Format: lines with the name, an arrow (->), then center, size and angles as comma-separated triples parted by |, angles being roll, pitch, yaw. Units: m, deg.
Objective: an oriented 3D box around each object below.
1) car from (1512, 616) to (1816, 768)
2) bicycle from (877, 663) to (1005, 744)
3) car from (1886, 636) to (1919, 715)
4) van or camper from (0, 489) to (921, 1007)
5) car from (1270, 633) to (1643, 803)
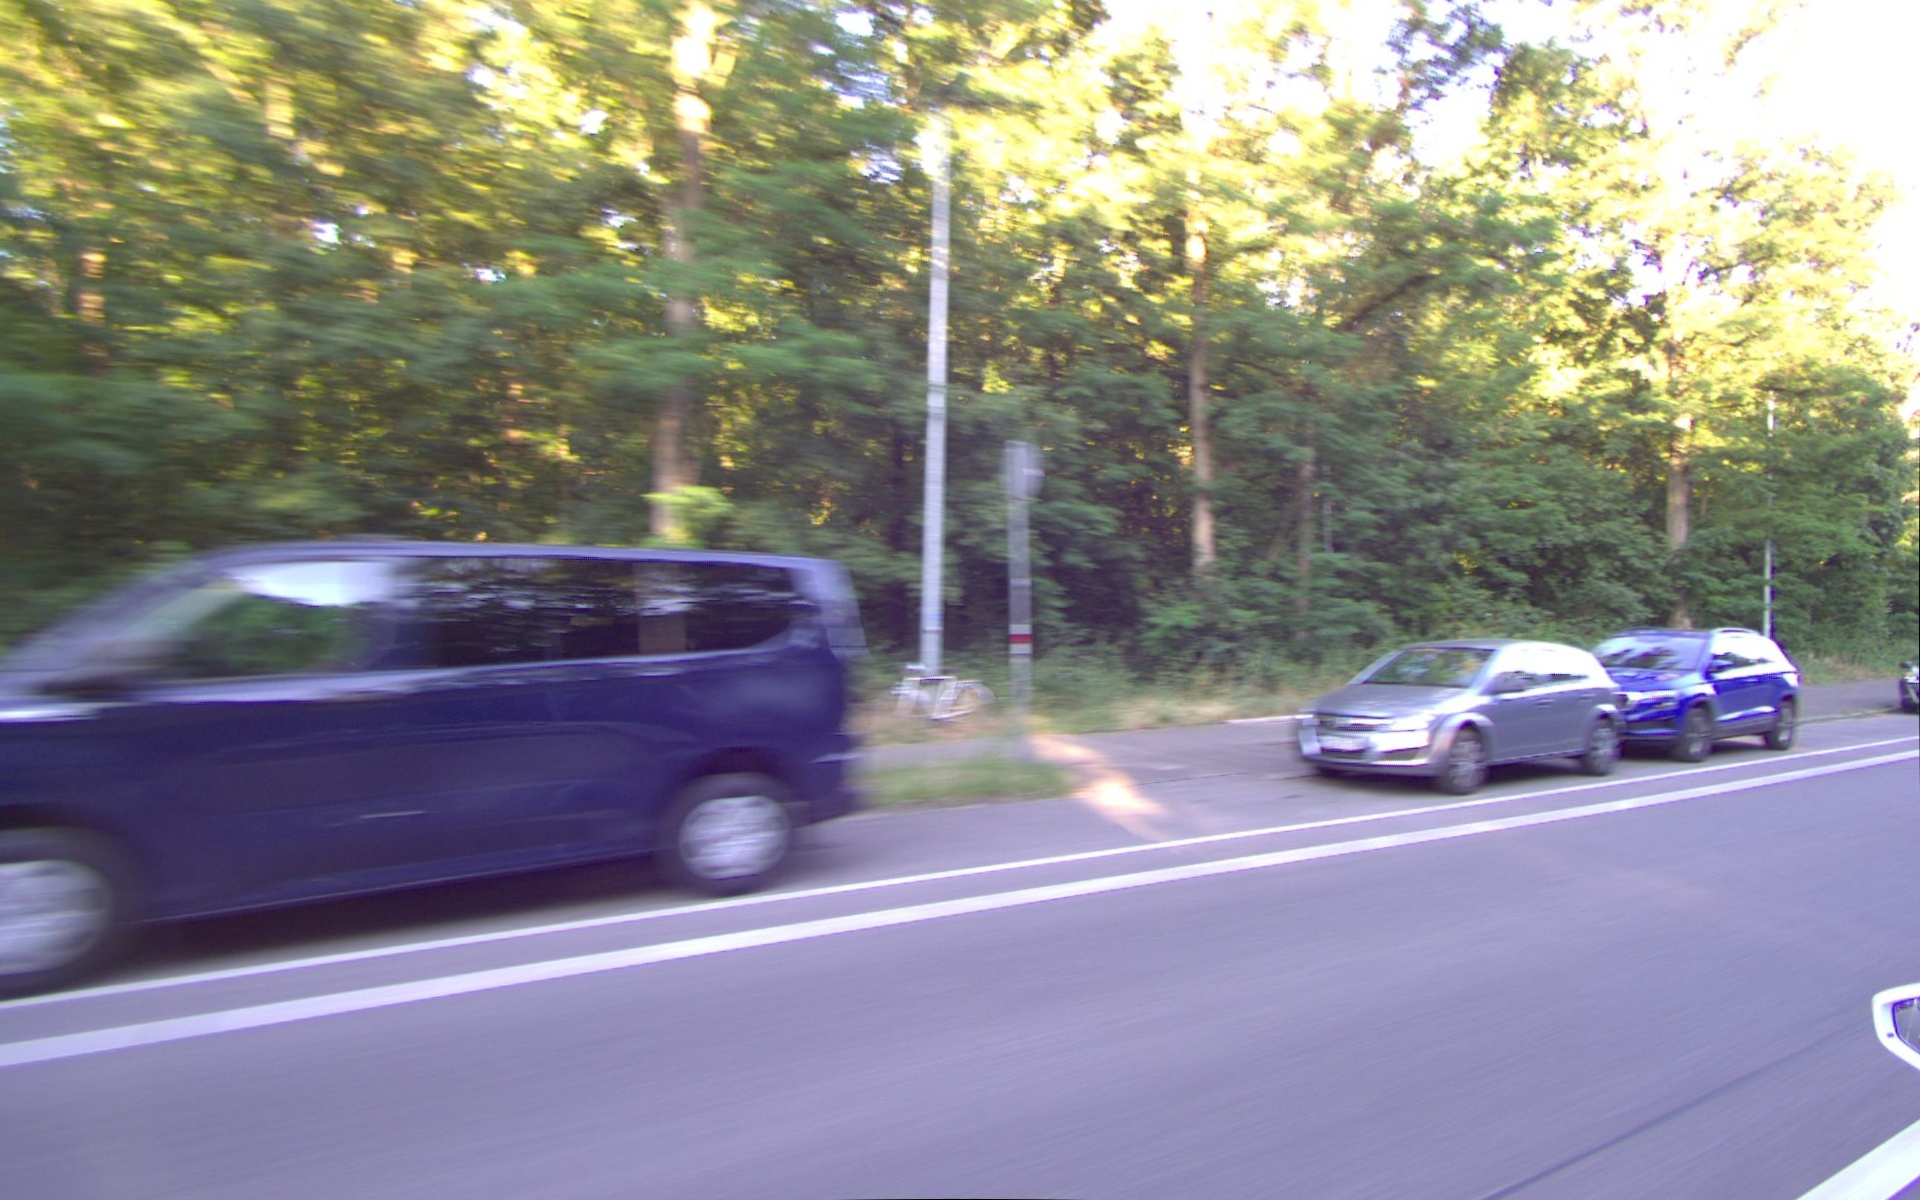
car -> 9.512, 1.138, 13.479 | 4.473, 1.734, 1.736 | 1, -3, -32
bicycle -> -0.232, 1.338, 13.229 | 1.698, 0.988, 0.451 | 1, -2, -31
car -> 20.856, 1.534, 20.840 | 4.000, 1.554, 1.606 | 2, -3, -35
van or camper -> -3.043, 0.660, 5.638 | 5.401, 2.044, 1.992 | 1, -4, -32
car -> 5.424, 1.131, 10.824 | 4.199, 1.521, 1.660 | 1, -3, -32
